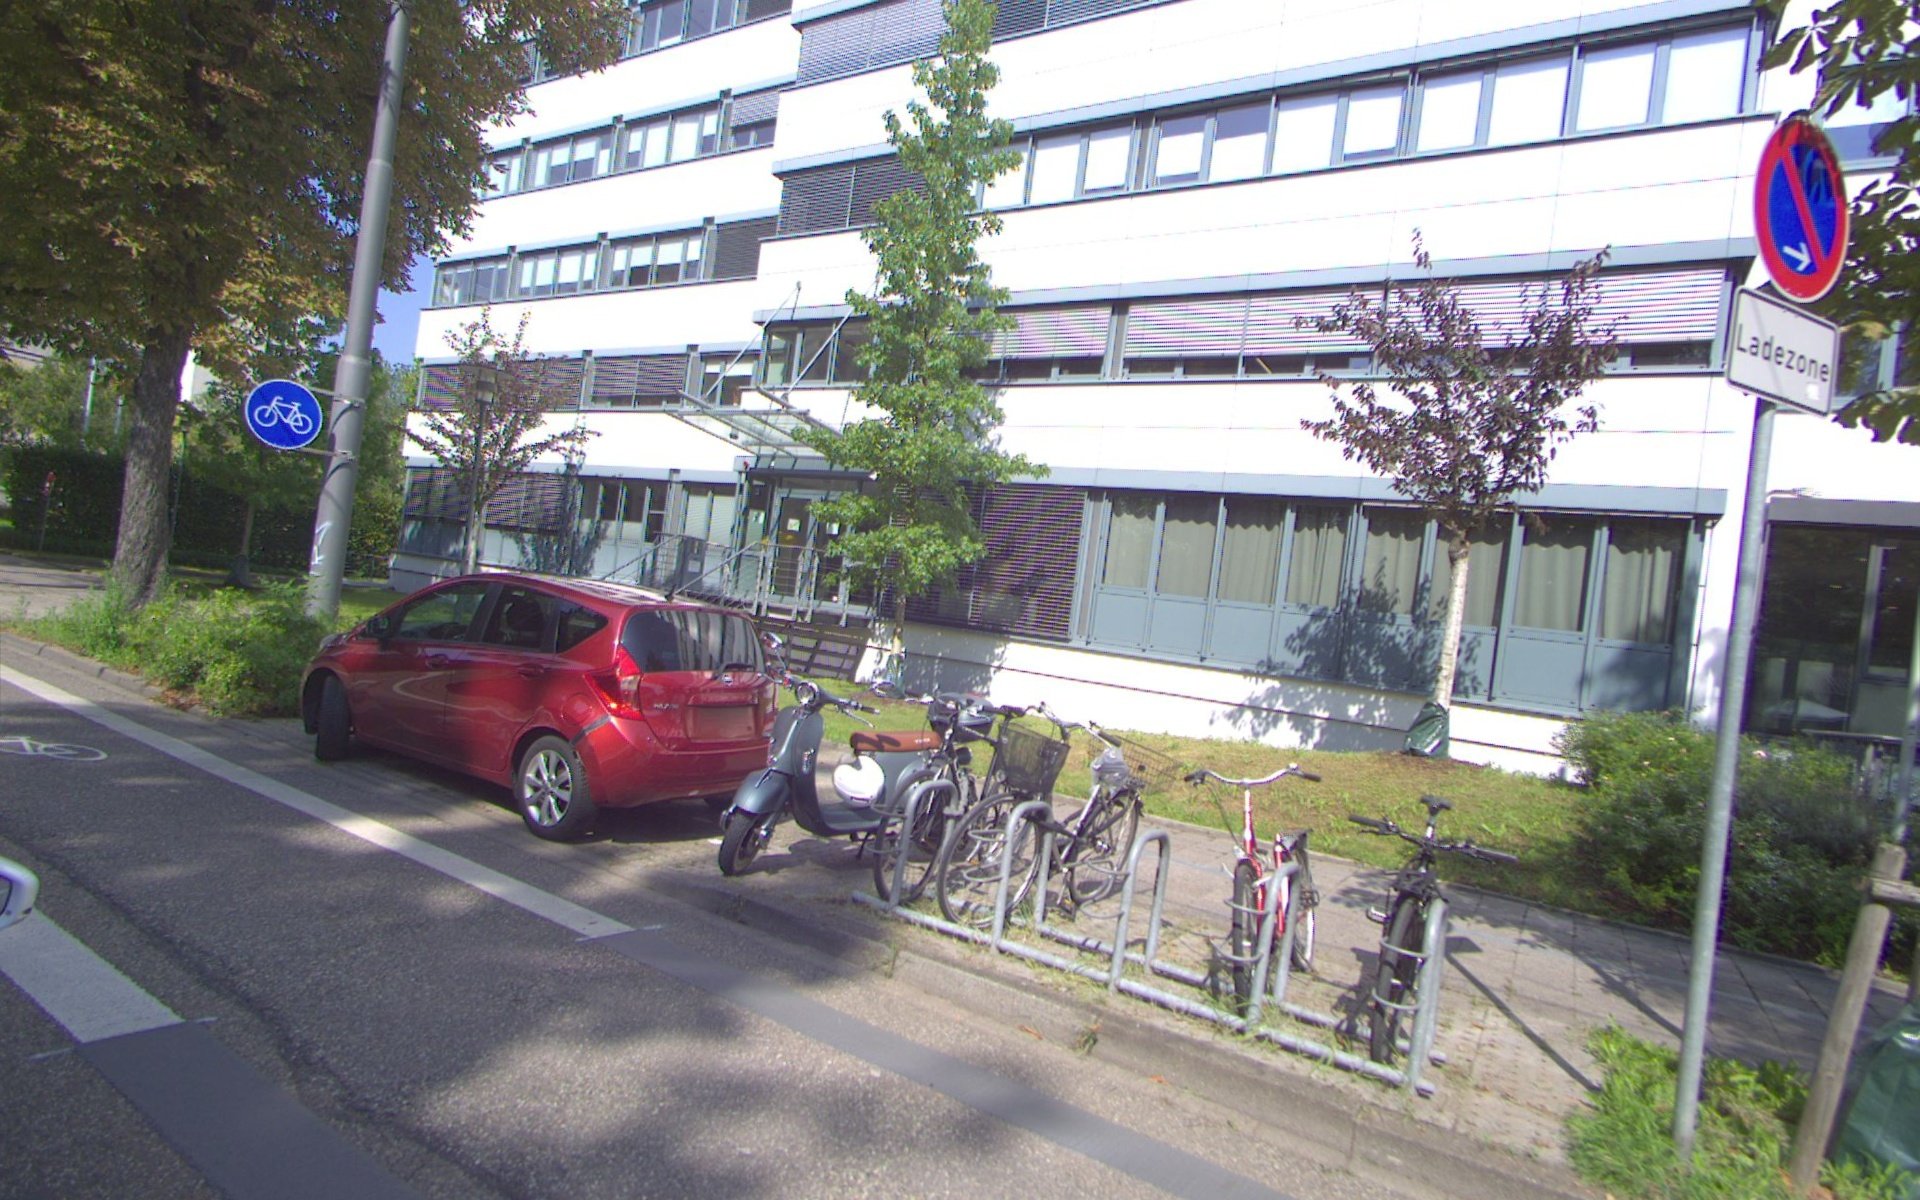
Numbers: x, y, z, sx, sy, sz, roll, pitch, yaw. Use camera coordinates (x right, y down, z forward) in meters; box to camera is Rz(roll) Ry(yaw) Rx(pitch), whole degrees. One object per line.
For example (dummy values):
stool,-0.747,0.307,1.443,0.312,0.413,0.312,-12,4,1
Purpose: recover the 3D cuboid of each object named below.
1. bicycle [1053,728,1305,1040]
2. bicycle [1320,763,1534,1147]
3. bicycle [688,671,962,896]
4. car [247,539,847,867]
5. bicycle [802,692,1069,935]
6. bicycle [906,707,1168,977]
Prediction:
bicycle,1.130,1.227,4.832,0.531,1.084,1.774,7,0,31
bicycle,2.039,1.330,4.252,0.531,1.084,1.774,7,0,31
bicycle,-0.727,1.017,6.036,0.531,1.084,1.774,7,0,31
car,-3.076,0.550,7.215,4.204,1.479,1.758,7,-1,32
bicycle,-0.056,1.096,5.680,0.531,1.084,1.774,7,0,31
bicycle,0.486,1.156,5.302,0.531,1.084,1.774,7,0,31
